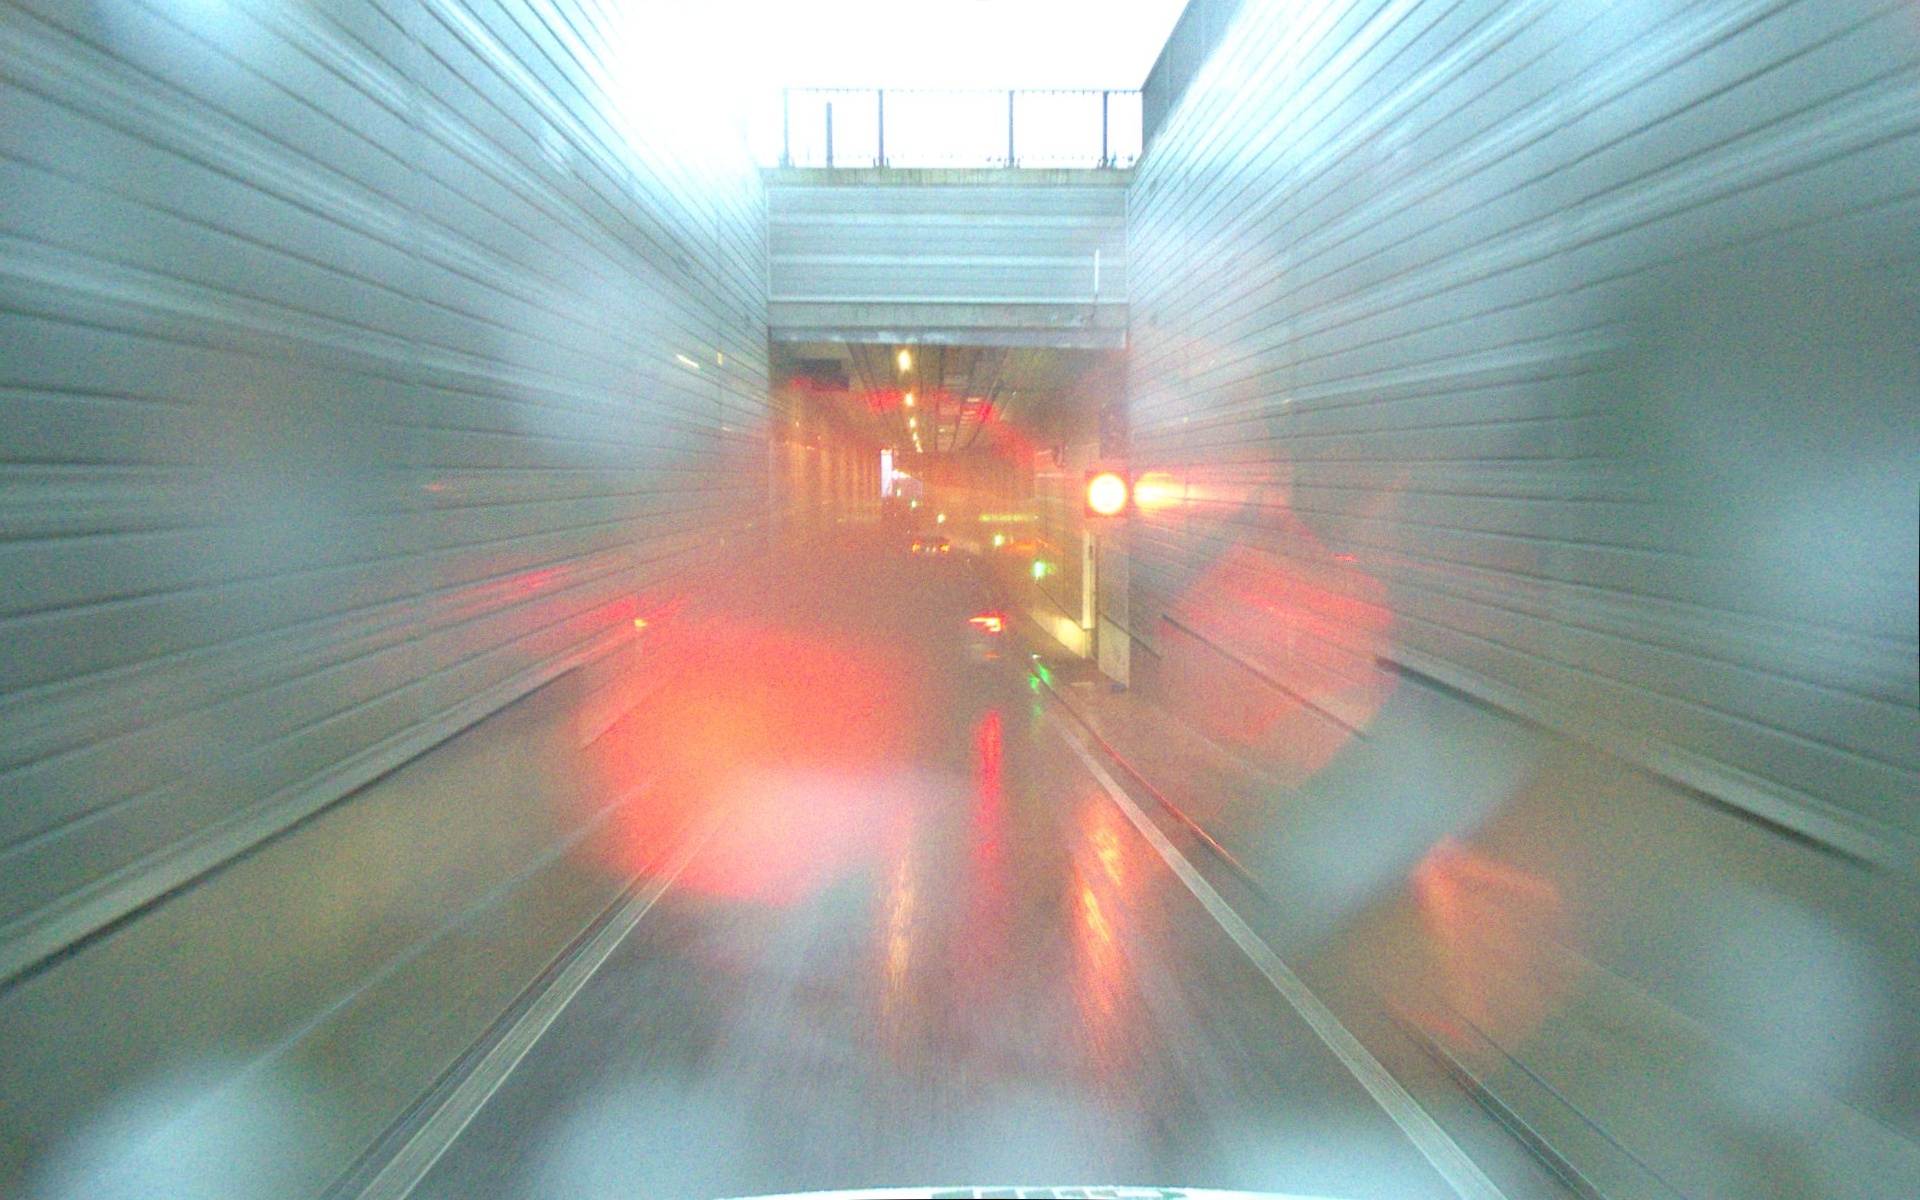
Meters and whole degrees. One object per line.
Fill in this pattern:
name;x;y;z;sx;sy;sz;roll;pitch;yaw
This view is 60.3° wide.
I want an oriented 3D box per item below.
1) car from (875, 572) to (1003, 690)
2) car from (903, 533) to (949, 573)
car;-0.265;0.379;24.309;1.687;1.505;4.001;2;1;0
car;-1.491;-2.034;71.149;1.881;1.511;4.000;2;4;-3
